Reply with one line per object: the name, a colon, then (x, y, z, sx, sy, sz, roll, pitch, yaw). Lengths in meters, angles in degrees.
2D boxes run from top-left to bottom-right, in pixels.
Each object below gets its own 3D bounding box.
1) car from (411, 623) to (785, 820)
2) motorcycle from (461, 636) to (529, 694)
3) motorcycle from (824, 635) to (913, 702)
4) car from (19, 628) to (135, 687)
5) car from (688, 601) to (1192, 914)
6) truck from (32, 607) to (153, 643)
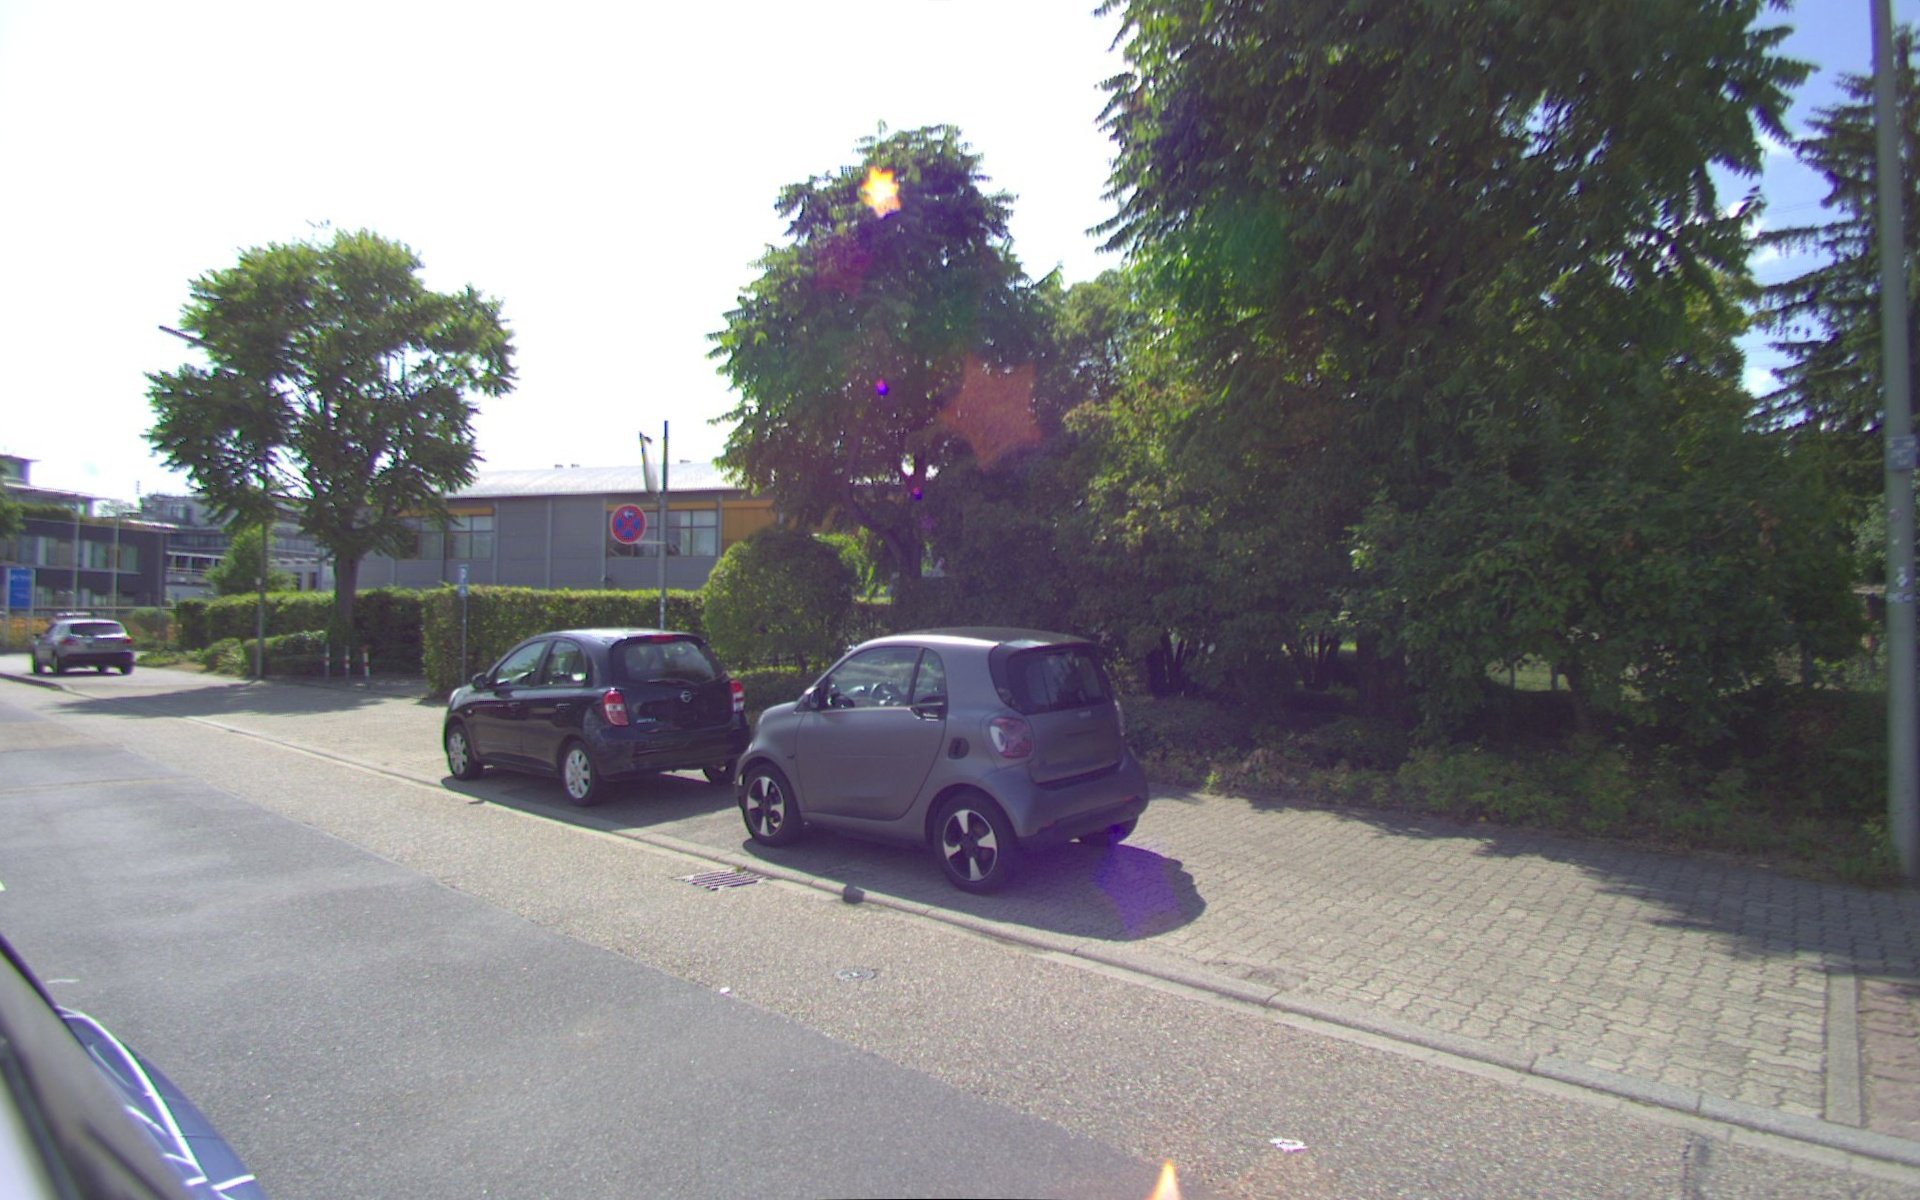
car: (-3.761, 1.029, 10.201, 3.998, 1.519, 1.826, -1, 0, 41)
motorcycle: (-10.443, 1.441, 22.699, 2.084, 1.229, 0.527, -1, -3, 40)
motorcycle: (-1.807, 1.301, 19.689, 1.939, 1.229, 0.526, -1, -3, 41)
car: (-26.148, 1.649, 29.931, 4.470, 1.586, 1.741, -1, -1, 38)
car: (-0.242, 0.879, 7.149, 3.270, 1.658, 1.634, -1, 0, 39)
truck: (-66.414, 1.949, 77.692, 2.382, 2.678, 6.901, 0, -2, 15)
